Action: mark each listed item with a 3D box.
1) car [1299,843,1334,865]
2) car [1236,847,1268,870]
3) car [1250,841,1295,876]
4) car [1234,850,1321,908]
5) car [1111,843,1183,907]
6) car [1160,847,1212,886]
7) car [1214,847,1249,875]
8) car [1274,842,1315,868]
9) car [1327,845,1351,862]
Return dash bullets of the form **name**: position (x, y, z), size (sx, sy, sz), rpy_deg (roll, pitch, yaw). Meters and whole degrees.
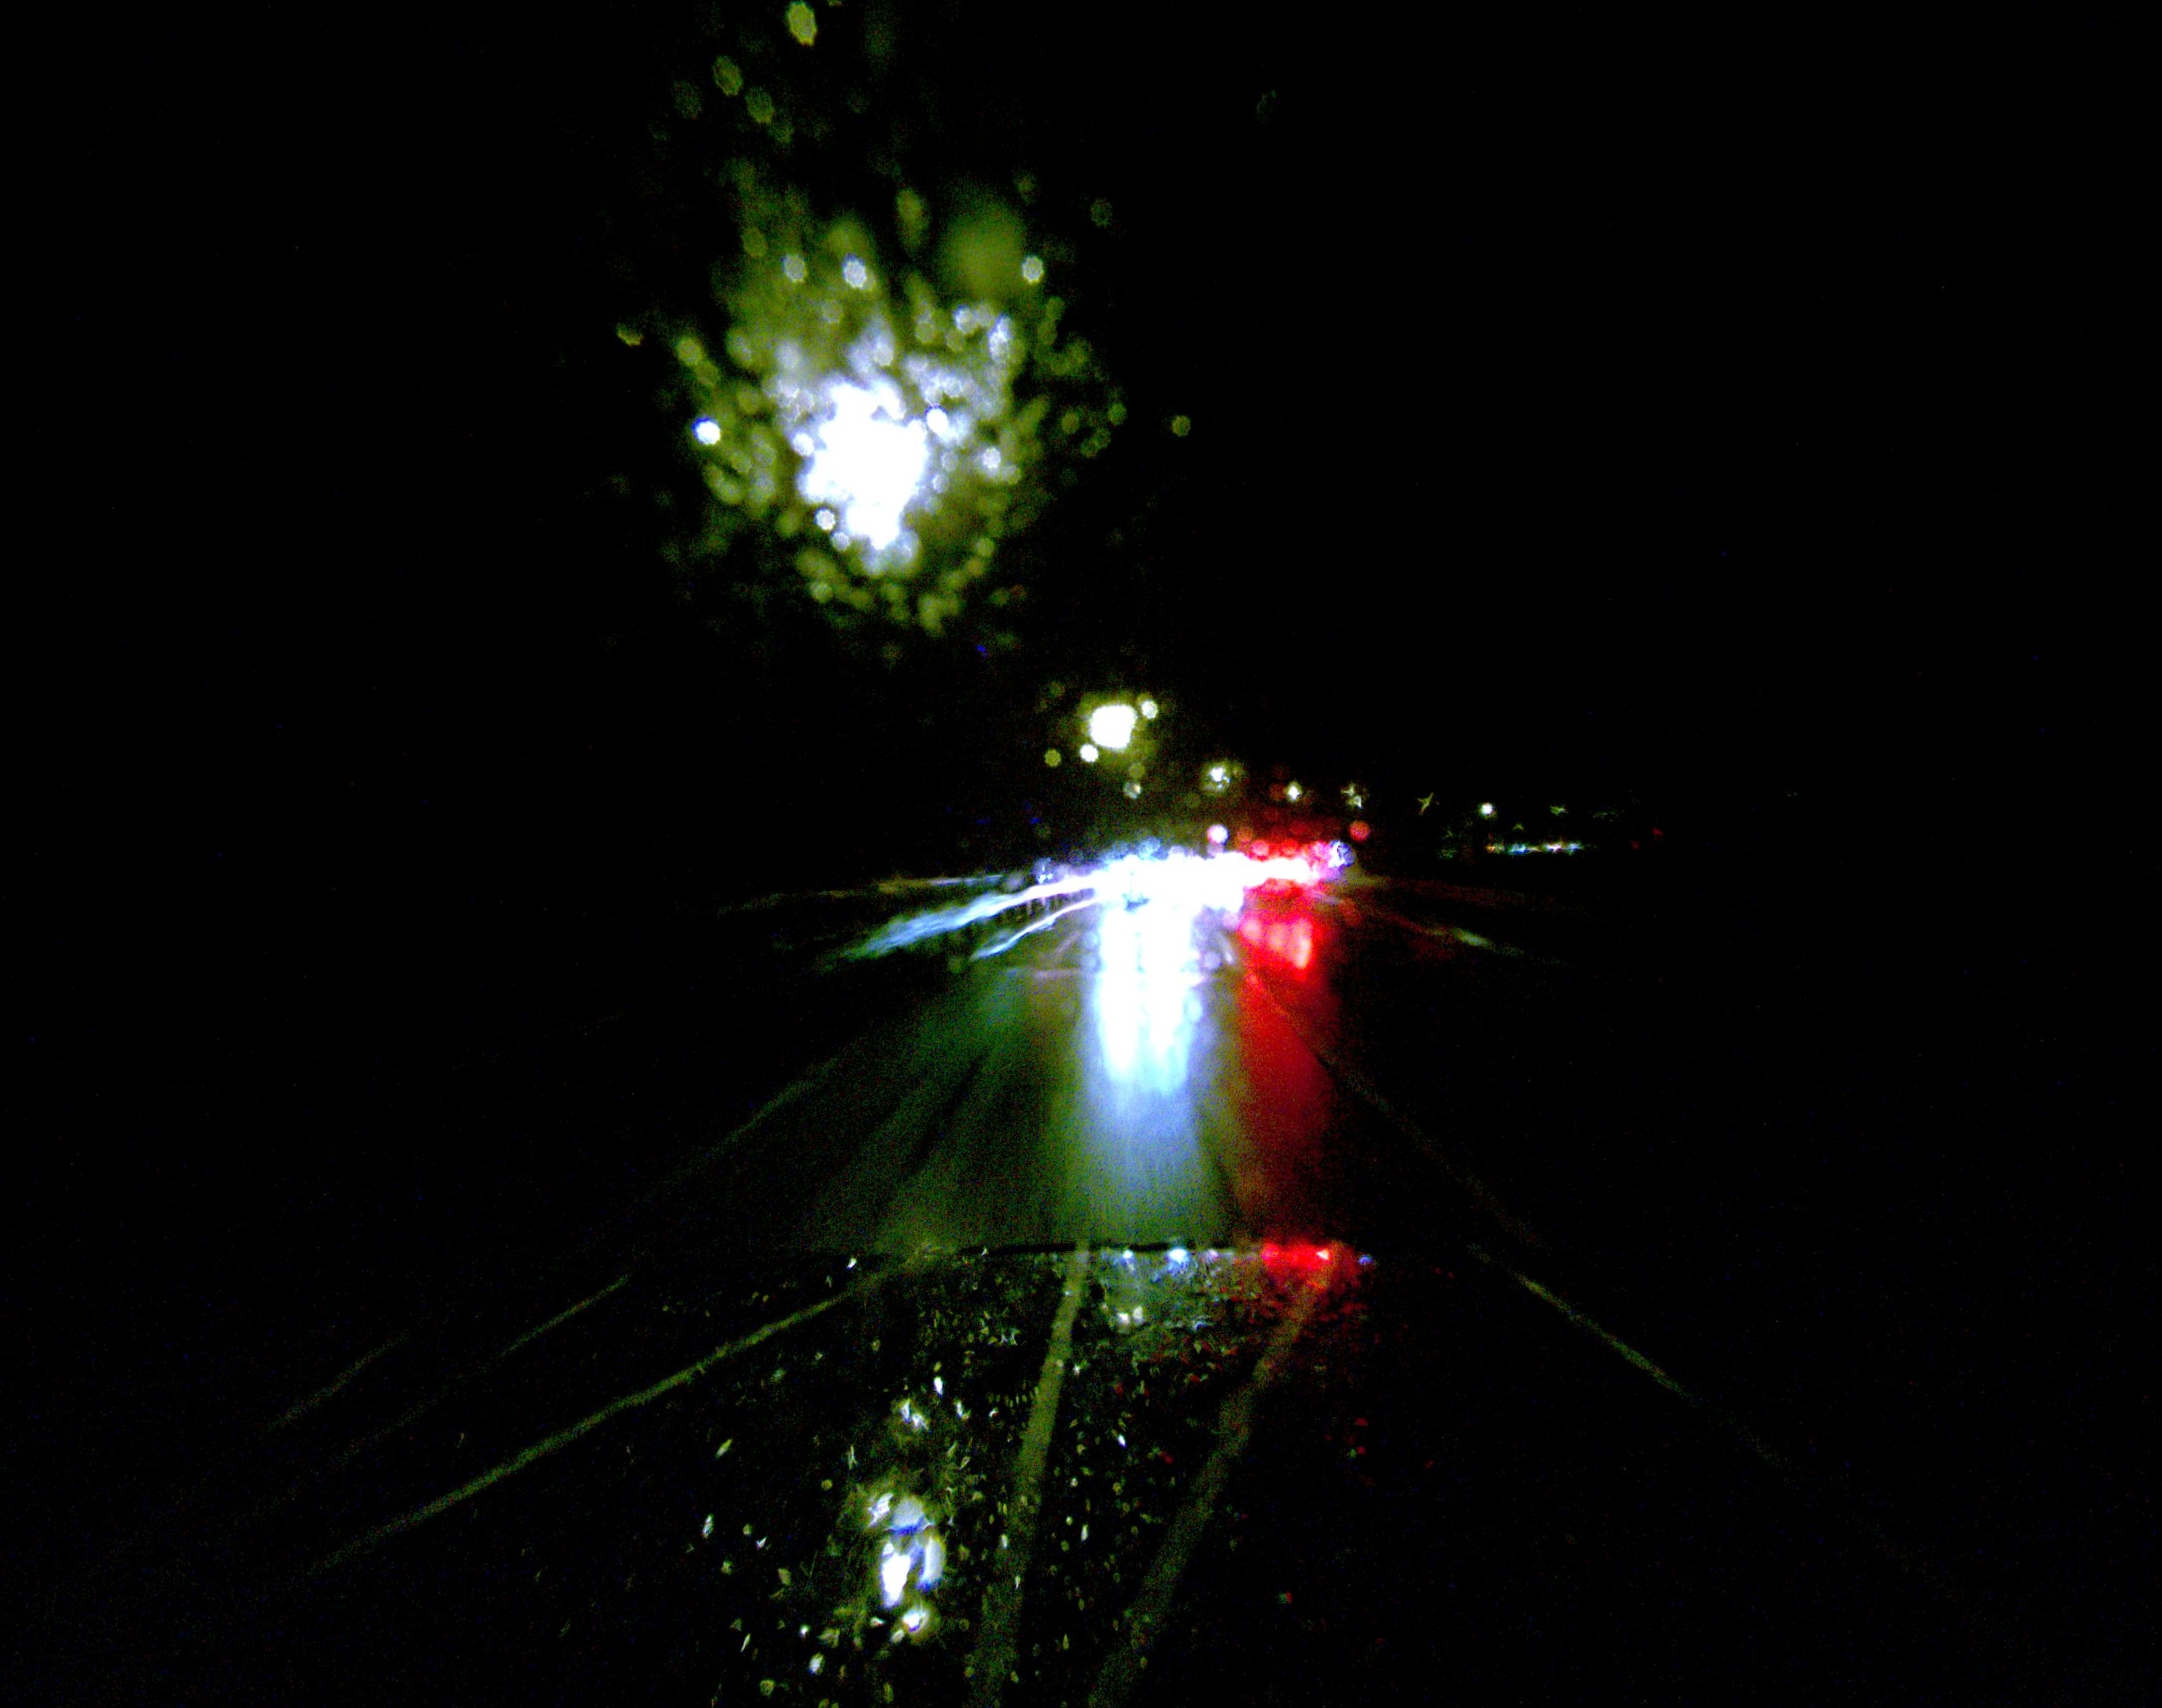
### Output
- **car**: position (21.918, 0.028, 70.605), size (2.375, 1.924, 4.425), rpy_deg (-1, 0, 26)
- **car**: position (14.983, 0.406, 66.375), size (1.995, 1.923, 4.007), rpy_deg (-1, 0, 23)
- **car**: position (12.106, 0.254, 47.931), size (2.376, 2.079, 4.423), rpy_deg (-1, 0, 18)
- **car**: position (5.556, 0.669, 21.934), size (1.997, 1.475, 4.003), rpy_deg (-1, 0, 8)
- **car**: position (2.213, 0.620, 24.483), size (1.935, 1.861, 4.003), rpy_deg (-1, 0, 10)
- **car**: position (5.555, 0.632, 39.774), size (1.996, 1.923, 4.005), rpy_deg (-1, 0, 18)
- **car**: position (11.062, 0.502, 55.486), size (1.996, 1.923, 4.005), rpy_deg (-1, 0, 18)
- **car**: position (16.857, 0.060, 59.803), size (2.375, 1.924, 4.424), rpy_deg (-1, 0, 25)
- **car**: position (30.696, -0.087, 90.276), size (1.995, 1.923, 4.008), rpy_deg (-1, 0, 29)
